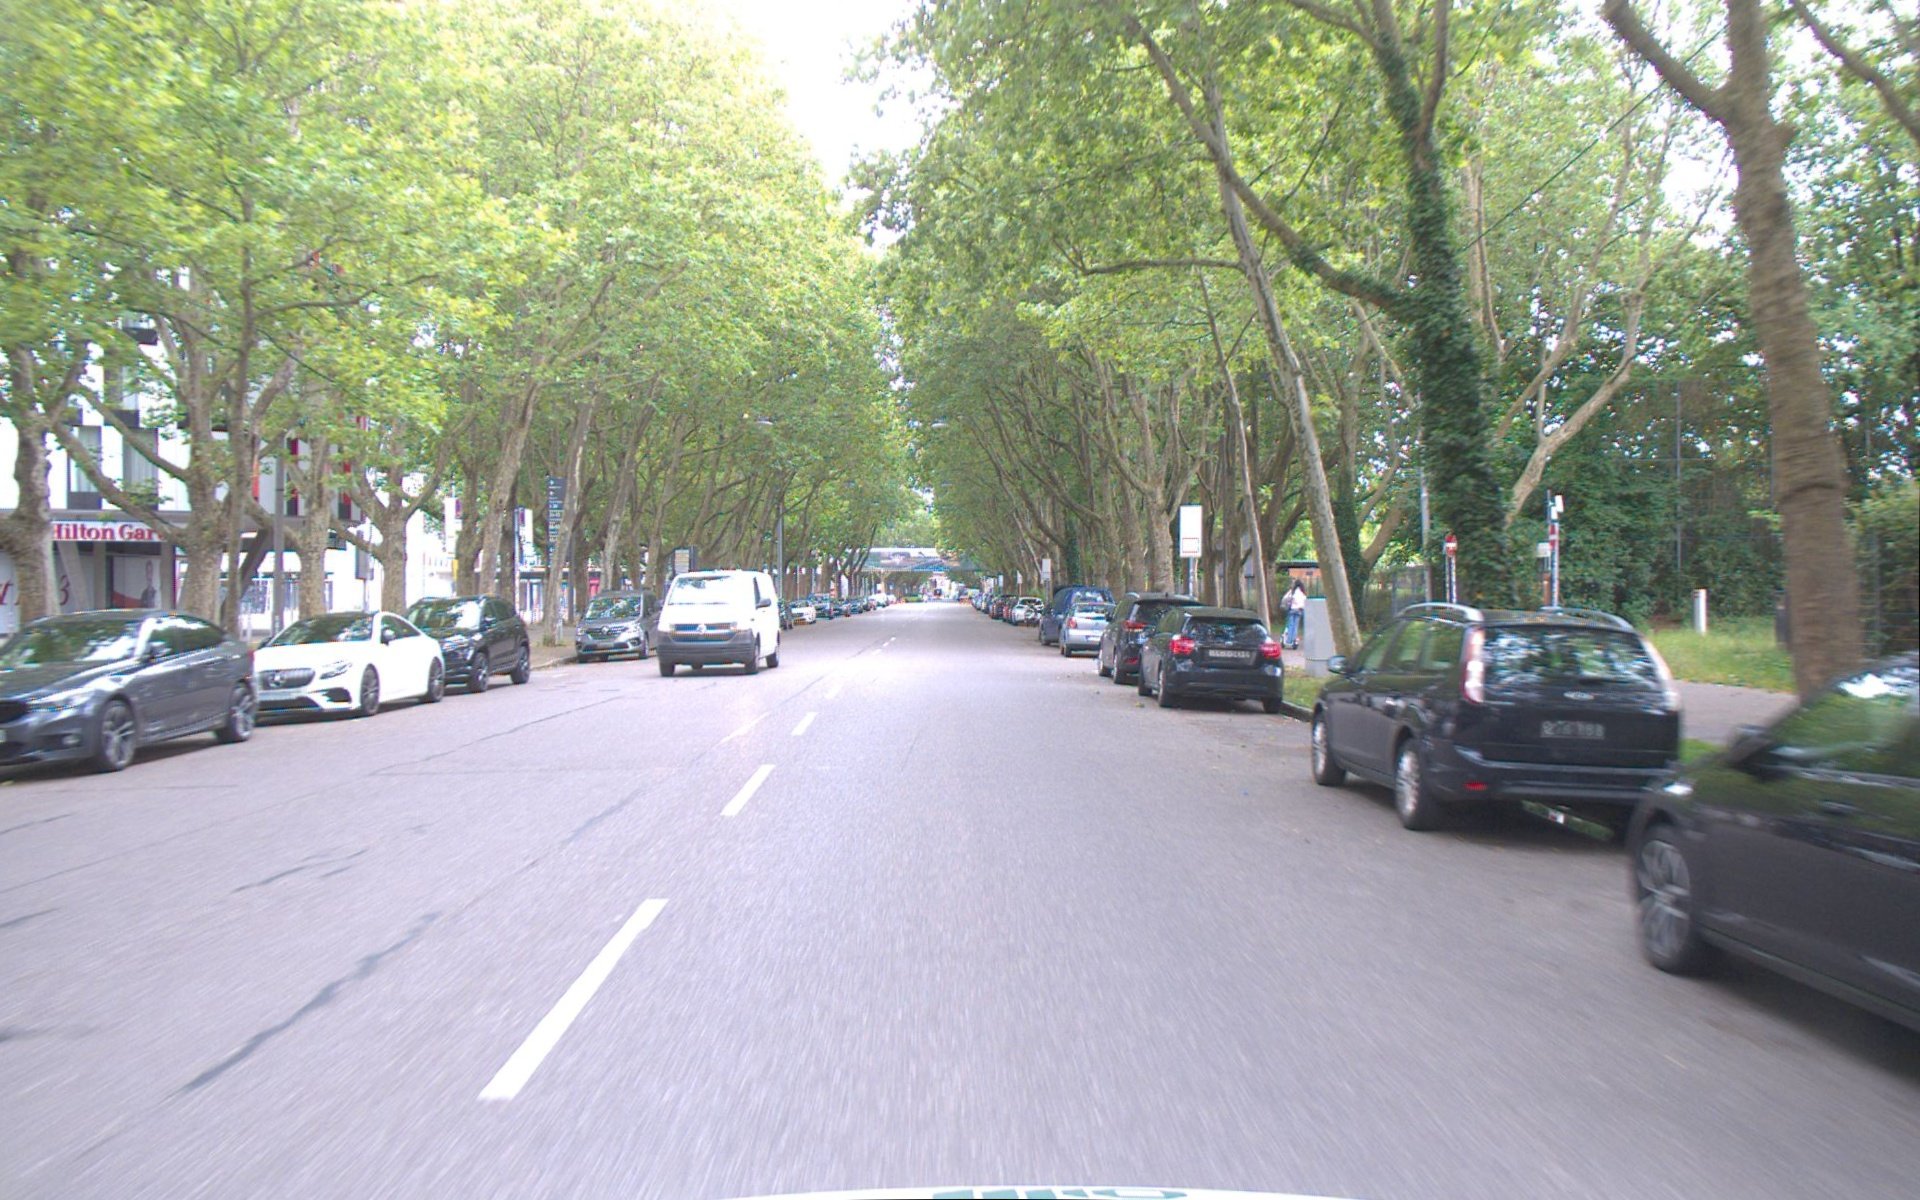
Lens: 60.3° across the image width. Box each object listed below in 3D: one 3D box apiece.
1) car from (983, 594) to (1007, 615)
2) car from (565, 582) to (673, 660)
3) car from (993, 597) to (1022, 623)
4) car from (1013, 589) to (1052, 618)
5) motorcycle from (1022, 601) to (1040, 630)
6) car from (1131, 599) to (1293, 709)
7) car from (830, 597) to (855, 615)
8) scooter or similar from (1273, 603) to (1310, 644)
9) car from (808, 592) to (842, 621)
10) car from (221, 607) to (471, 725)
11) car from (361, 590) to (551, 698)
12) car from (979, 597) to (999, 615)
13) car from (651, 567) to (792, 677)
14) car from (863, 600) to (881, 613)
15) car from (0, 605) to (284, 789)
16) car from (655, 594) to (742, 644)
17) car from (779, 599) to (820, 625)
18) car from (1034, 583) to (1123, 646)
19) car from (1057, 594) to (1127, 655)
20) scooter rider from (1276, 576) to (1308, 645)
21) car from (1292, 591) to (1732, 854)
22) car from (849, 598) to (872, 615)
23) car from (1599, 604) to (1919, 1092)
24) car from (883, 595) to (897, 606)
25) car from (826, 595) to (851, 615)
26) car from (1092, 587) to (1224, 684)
[{"bbox_3d":[2.896,0.367,137.629,1.673,1.728,4.629,1,0,-2],"label":"car"},{"bbox_3d":[-8.900,0.526,43.576,1.857,1.826,4.611,-3,0,-1],"label":"car"},{"bbox_3d":[3.065,0.637,107.871,1.720,1.648,4.438,2,0,0],"label":"car"},{"bbox_3d":[3.730,0.162,85.995,1.700,1.463,4.121,0,0,-2],"label":"car"},{"bbox_3d":[3.462,0.749,80.723,0.697,1.355,1.994,0,0,8],"label":"motorcycle"},{"bbox_3d":[3.712,0.748,25.039,1.739,1.443,4.287,2,0,0],"label":"car"},{"bbox_3d":[-10.372,0.506,146.394,1.839,1.553,4.151,-1,0,0],"label":"car"},{"bbox_3d":[9.015,0.642,45.041,0.666,1.056,1.467,-3,0,0],"label":"scooter or similar"},{"bbox_3d":[-8.989,0.430,110.442,1.909,1.781,4.637,-2,0,-1],"label":"car"},{"bbox_3d":[-8.625,0.856,23.743,1.779,1.386,5.004,-2,0,-1],"label":"car"},{"bbox_3d":[-8.590,0.700,28.598,1.780,1.621,4.345,-3,0,2],"label":"car"},{"bbox_3d":[2.876,0.594,164.016,1.864,1.769,4.506,0,0,0],"label":"car"},{"bbox_3d":[-4.648,0.378,33.020,2.017,1.995,5.465,-1,0,0],"label":"car"},{"bbox_3d":[-10.814,0.752,203.377,2.031,1.590,4.756,0,0,0],"label":"car"},{"bbox_3d":[-8.545,0.846,16.489,1.783,1.510,4.990,-2,0,-3],"label":"car"},{"bbox_3d":[-8.925,0.622,56.930,2.041,1.556,5.146,-2,1,1],"label":"car"},{"bbox_3d":[-9.399,0.685,97.147,1.865,1.427,4.751,-3,0,0],"label":"car"},{"bbox_3d":[3.674,0.415,51.974,1.808,1.814,4.438,2,0,-9],"label":"car"},{"bbox_3d":[3.524,0.621,44.597,1.585,1.487,3.946,2,0,1],"label":"car"},{"bbox_3d":[9.010,0.283,44.879,0.662,1.831,0.587,-2,0,-1],"label":"scooter rider"},{"bbox_3d":[3.905,0.760,12.563,1.741,1.580,4.395,2,0,-1],"label":"car"},{"bbox_3d":[-9.496,0.609,158.484,1.789,1.491,4.628,-1,0,2],"label":"car"},{"bbox_3d":[3.872,0.812,5.755,1.703,1.496,4.152,2,0,1],"label":"car"},{"bbox_3d":[-10.798,0.023,253.610,1.955,1.629,3.995,0,0,-6],"label":"car"},{"bbox_3d":[-9.426,0.355,128.595,1.689,1.512,4.574,0,0,0],"label":"car"},{"bbox_3d":[3.614,0.602,30.953,1.792,1.630,4.466,2,0,-1],"label":"car"}]
